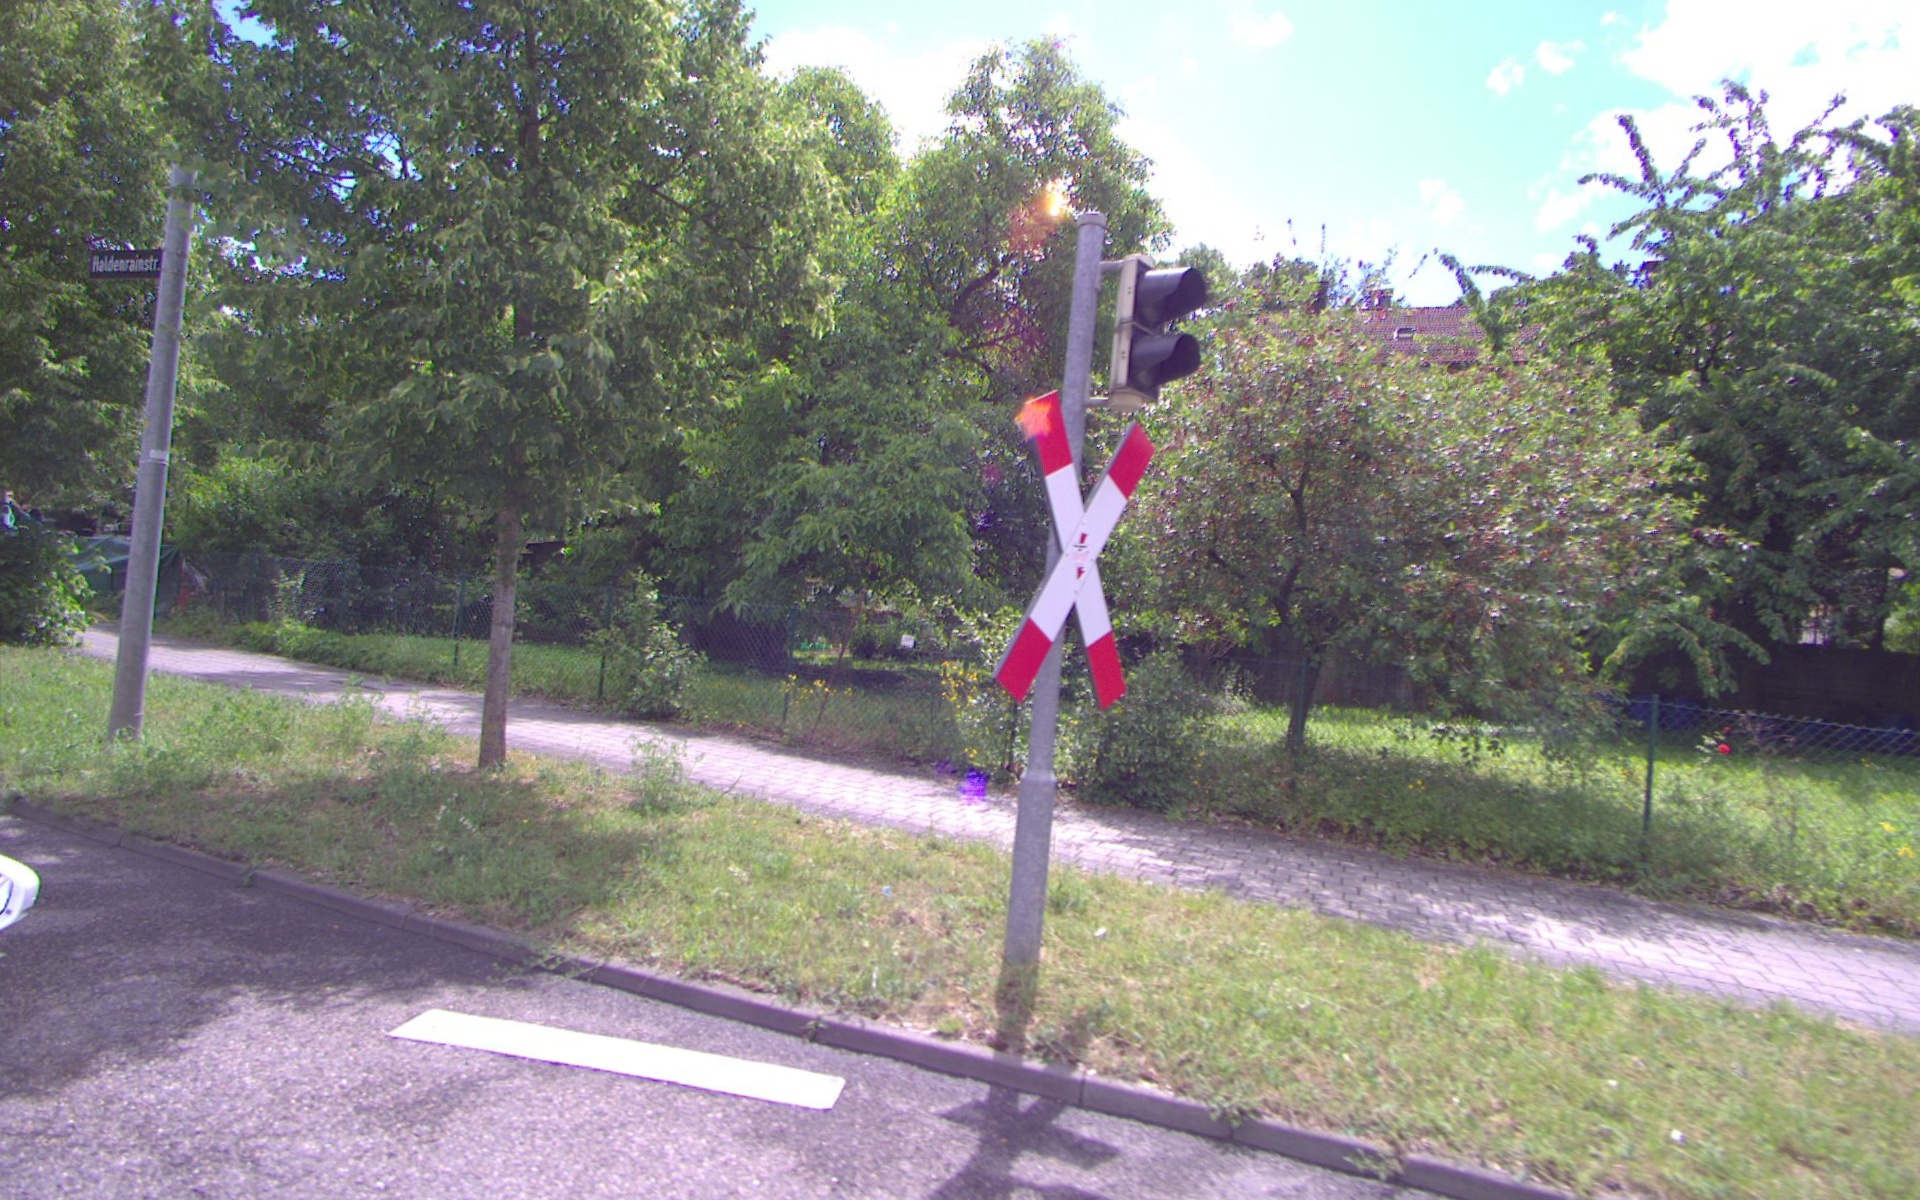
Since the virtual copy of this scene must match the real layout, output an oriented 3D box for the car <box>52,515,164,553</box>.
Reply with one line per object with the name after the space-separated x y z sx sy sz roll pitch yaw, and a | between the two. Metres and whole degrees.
-45.895 -3.520 54.236 4.504 1.693 1.977 2 0 -44 | car
